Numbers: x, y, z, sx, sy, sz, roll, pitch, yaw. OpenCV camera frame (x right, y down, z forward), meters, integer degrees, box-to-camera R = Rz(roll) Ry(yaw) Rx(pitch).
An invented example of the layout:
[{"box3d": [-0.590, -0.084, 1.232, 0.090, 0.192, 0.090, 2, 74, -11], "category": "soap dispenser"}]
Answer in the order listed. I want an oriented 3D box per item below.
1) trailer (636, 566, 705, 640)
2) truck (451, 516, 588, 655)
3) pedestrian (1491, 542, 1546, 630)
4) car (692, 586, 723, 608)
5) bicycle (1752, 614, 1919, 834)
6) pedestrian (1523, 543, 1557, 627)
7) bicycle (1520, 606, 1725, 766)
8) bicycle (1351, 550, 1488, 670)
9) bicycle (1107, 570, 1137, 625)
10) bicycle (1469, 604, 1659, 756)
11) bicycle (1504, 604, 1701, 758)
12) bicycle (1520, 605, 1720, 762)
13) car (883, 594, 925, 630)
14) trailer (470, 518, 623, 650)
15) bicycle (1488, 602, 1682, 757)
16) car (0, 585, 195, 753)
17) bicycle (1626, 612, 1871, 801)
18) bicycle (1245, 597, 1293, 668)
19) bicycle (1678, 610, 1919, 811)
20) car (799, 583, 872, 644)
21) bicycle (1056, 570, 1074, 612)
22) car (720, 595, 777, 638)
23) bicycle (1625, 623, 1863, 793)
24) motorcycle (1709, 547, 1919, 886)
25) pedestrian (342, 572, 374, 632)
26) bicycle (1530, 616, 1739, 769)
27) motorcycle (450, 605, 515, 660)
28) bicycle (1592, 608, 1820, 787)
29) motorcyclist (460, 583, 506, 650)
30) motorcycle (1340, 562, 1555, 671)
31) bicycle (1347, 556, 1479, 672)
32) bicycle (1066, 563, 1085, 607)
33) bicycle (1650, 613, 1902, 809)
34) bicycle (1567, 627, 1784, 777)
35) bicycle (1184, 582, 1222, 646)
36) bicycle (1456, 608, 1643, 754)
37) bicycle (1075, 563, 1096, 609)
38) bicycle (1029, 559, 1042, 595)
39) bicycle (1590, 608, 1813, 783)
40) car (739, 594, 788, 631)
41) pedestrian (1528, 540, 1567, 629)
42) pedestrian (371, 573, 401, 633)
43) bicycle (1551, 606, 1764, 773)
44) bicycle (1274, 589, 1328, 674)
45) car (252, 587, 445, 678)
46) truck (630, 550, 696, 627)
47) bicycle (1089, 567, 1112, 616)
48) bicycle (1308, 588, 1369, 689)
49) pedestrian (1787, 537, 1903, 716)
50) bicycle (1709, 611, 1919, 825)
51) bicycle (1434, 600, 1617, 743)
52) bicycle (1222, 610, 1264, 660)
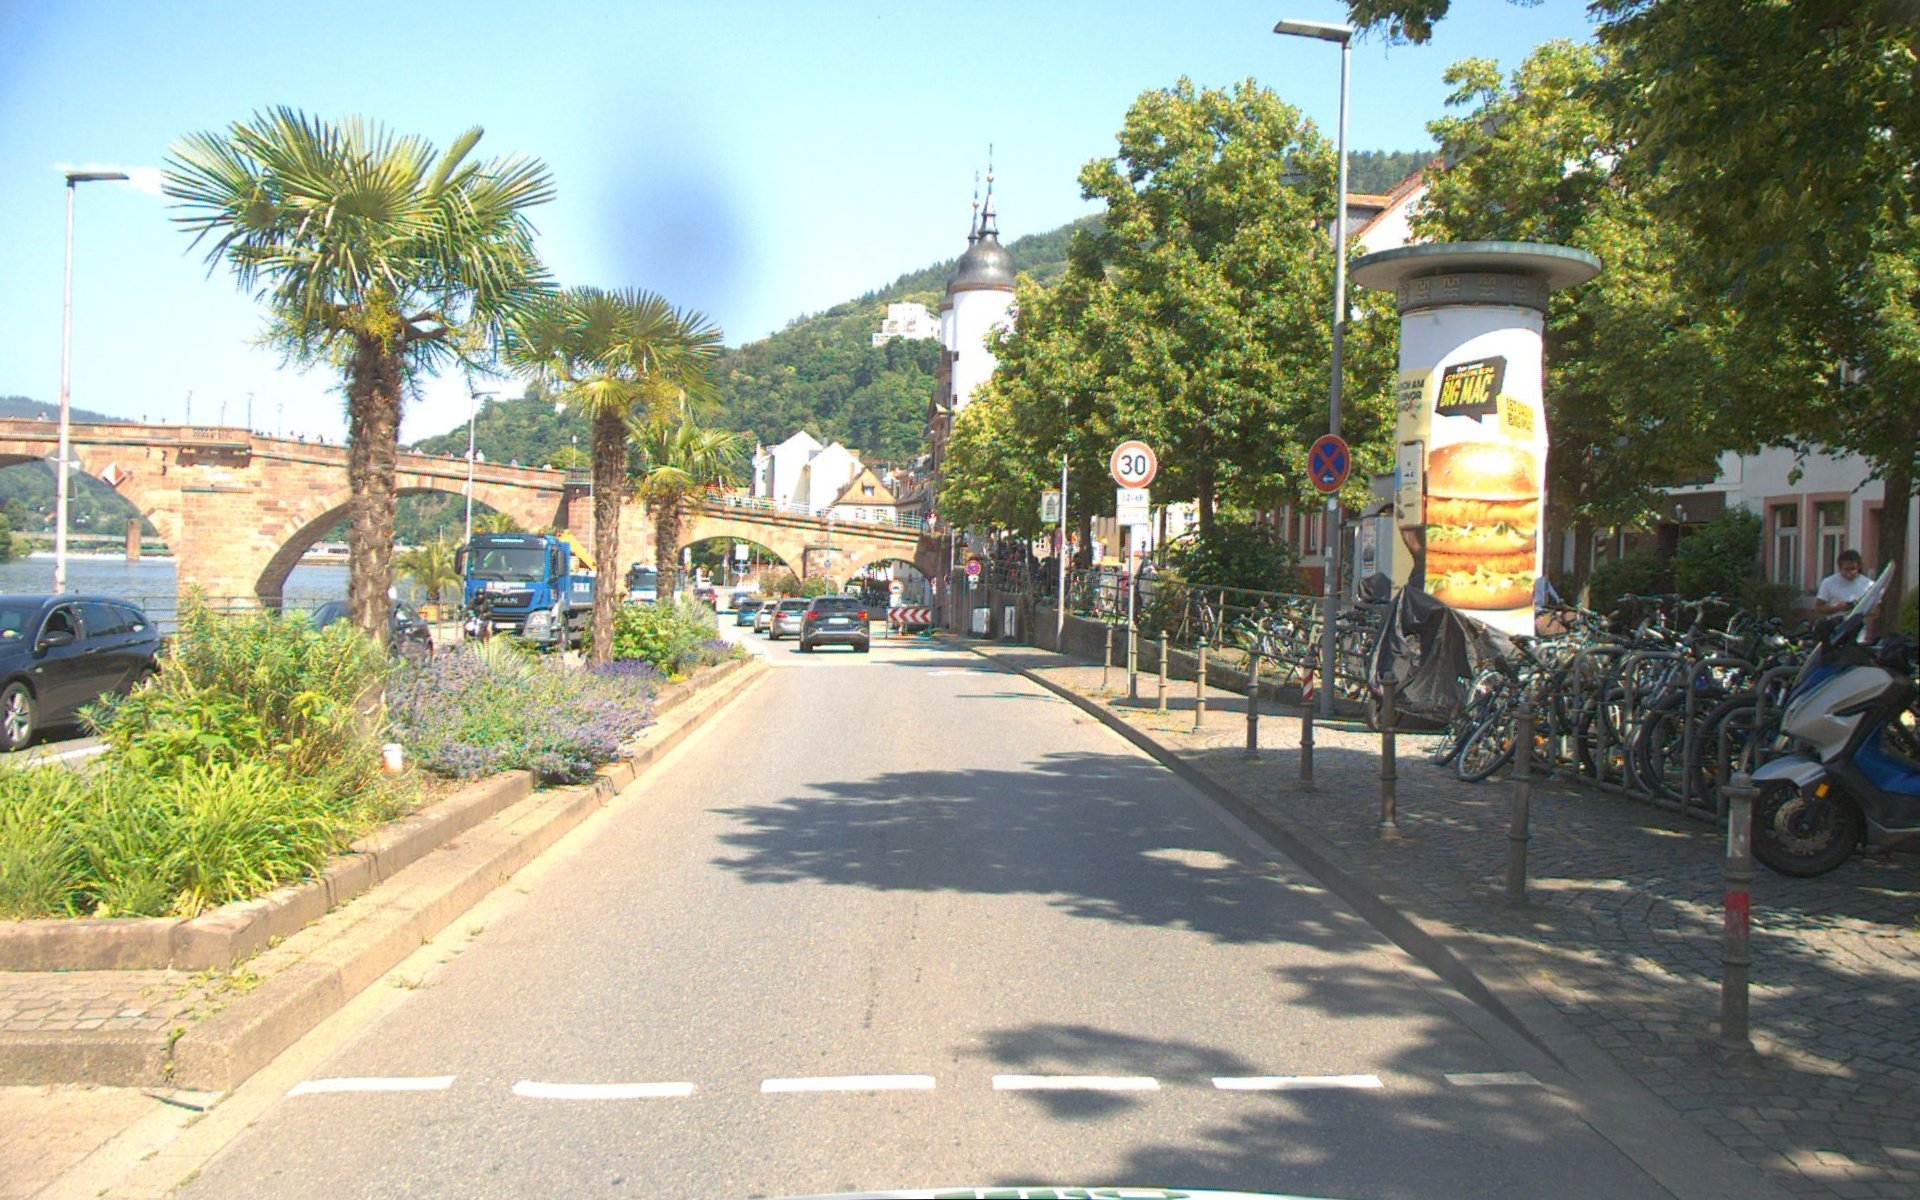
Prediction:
[{"box3d": [-14.576, 0.049, 83.871, 2.606, 3.462, 10.157, 1, 1, -5], "category": "trailer"}, {"box3d": [-11.743, -0.405, 44.417, 2.605, 3.462, 4.447, 1, 1, -3], "category": "truck"}, {"box3d": [12.650, -0.325, 37.483, 0.949, 1.948, 0.747, 1, 0, -2], "category": "pedestrian"}, {"box3d": [-20.490, -0.262, 134.452, 1.954, 1.580, 4.830, 1, 1, -3], "category": "car"}, {"box3d": [4.988, 0.646, 8.793, 1.455, 1.139, 0.294, 0, 1, -5], "category": "bicycle"}, {"box3d": [14.263, -0.368, 40.668, 0.574, 2.049, 0.596, 1, 0, -4], "category": "pedestrian"}, {"box3d": [4.832, 0.615, 12.066, 1.456, 1.139, 0.250, 0, 1, -9], "category": "bicycle"}, {"box3d": [5.921, 0.127, 21.313, 1.688, 1.509, 0.269, 1, 0, -5], "category": "bicycle"}, {"box3d": [3.406, -0.067, 34.867, 0.339, 1.115, 1.488, 3, 0, -3], "category": "bicycle"}, {"box3d": [4.759, 0.621, 13.038, 1.456, 1.139, 0.250, -1, 1, -9], "category": "bicycle"}, {"box3d": [4.874, 0.604, 12.546, 1.456, 1.139, 0.250, 0, 1, -9], "category": "bicycle"}, {"box3d": [4.922, 0.611, 12.331, 1.456, 1.139, 0.250, 0, 1, -9], "category": "bicycle"}, {"box3d": [-2.652, 0.556, 79.555, 1.684, 1.624, 3.896, 1, 1, 2], "category": "car"}, {"box3d": [-11.958, -0.506, 48.649, 2.605, 3.462, 8.822, 1, 1, -3], "category": "trailer"}, {"box3d": [4.822, 0.605, 12.764, 1.456, 1.139, 0.250, -1, 1, -9], "category": "bicycle"}, {"box3d": [-9.648, 0.619, 16.693, 1.782, 1.481, 4.926, -1, 1, -3], "category": "car"}, {"box3d": [4.887, 0.646, 10.257, 1.456, 1.139, 0.293, 0, 1, -9], "category": "bicycle"}, {"box3d": [4.233, 0.435, 22.693, 0.245, 0.920, 1.487, 1, 1, -5], "category": "bicycle"}, {"box3d": [4.954, 0.632, 9.672, 1.456, 1.139, 0.293, 0, 1, -9], "category": "bicycle"}, {"box3d": [-3.415, 0.376, 45.440, 1.888, 1.580, 4.827, 1, -1, -4], "category": "car"}, {"box3d": [2.843, -0.249, 44.838, 0.245, 1.115, 1.488, 3, 0, -3], "category": "bicycle"}, {"box3d": [-8.773, 0.660, 69.033, 1.954, 1.580, 4.830, 1, 1, -3], "category": "car"}, {"box3d": [5.004, 0.676, 10.558, 1.456, 1.050, 0.293, 0, 1, -9], "category": "bicycle"}, {"box3d": [4.658, 0.516, 7.425, 2.254, 1.491, 0.761, 0, 0, 38], "category": "motorcycle"}, {"box3d": [-18.454, 0.065, 50.712, 0.748, 1.811, 0.694, 2, 1, -11], "category": "pedestrian"}, {"box3d": [4.816, 0.650, 11.818, 1.456, 1.065, 0.250, 0, 1, -9], "category": "bicycle"}, {"box3d": [-10.842, 0.727, 37.643, 0.742, 1.151, 2.456, 1, 1, 0], "category": "motorcycle"}, {"box3d": [4.866, 0.622, 10.790, 1.456, 1.139, 0.250, 0, 1, -9], "category": "bicycle"}, {"box3d": [-10.827, 0.364, 37.570, 0.721, 1.496, 1.011, 1, 1, 0], "category": "motorcyclist"}, {"box3d": [6.697, 0.211, 22.816, 2.773, 1.422, 0.826, 1, 0, 16], "category": "motorcycle"}, {"box3d": [5.991, 0.184, 21.893, 1.673, 1.509, 0.269, 1, 0, -5], "category": "bicycle"}, {"box3d": [2.987, -0.397, 42.753, 0.245, 1.115, 1.488, 3, 0, -3], "category": "bicycle"}, {"box3d": [4.916, 0.654, 9.968, 1.456, 1.139, 0.293, 0, 1, -9], "category": "bicycle"}, {"box3d": [4.902, 0.687, 11.334, 1.456, 0.996, 0.250, 0, 1, -9], "category": "bicycle"}, {"box3d": [3.995, 0.217, 27.282, 0.245, 1.017, 1.487, 3, 0, -5], "category": "bicycle"}, {"box3d": [4.754, 0.652, 13.337, 1.456, 1.139, 0.250, 1, 0, -9], "category": "bicycle"}, {"box3d": [3.095, -0.353, 40.830, 0.245, 1.115, 1.488, 3, 0, -3], "category": "bicycle"}, {"box3d": [2.437, -0.732, 53.442, 0.348, 1.115, 1.489, 3, 0, 2], "category": "bicycle"}, {"box3d": [4.960, 0.628, 11.067, 1.456, 1.139, 0.250, 0, 1, -9], "category": "bicycle"}, {"box3d": [-9.323, 0.575, 78.634, 1.954, 1.580, 4.830, 1, 1, -3], "category": "car"}, {"box3d": [13.764, -0.366, 38.734, 0.622, 2.049, 0.644, 1, 0, -2], "category": "pedestrian"}, {"box3d": [-17.630, 0.084, 50.819, 0.748, 1.811, 0.694, 2, 1, -11], "category": "pedestrian"}, {"box3d": [4.882, 0.614, 11.579, 1.456, 1.139, 0.250, 0, 1, -9], "category": "bicycle"}, {"box3d": [4.337, 0.381, 21.108, 0.245, 1.028, 1.487, 1, 1, -5], "category": "bicycle"}, {"box3d": [-10.521, 0.546, 28.810, 1.913, 1.437, 4.217, -1, 0, -2], "category": "car"}, {"box3d": [-14.070, -0.566, 78.653, 2.606, 3.462, 5.129, 1, 1, -6], "category": "truck"}, {"box3d": [3.255, -0.206, 38.432, 0.270, 1.115, 1.488, -3, 1, -3], "category": "bicycle"}, {"box3d": [4.469, 0.436, 19.574, 0.245, 1.139, 1.487, 1, 1, -5], "category": "bicycle"}, {"box3d": [8.535, 0.244, 15.978, 0.693, 1.681, 0.707, 1, 1, -2], "category": "pedestrian"}, {"box3d": [4.939, 0.636, 9.173, 1.456, 1.139, 0.377, 0, 1, -9], "category": "bicycle"}, {"box3d": [4.668, 0.590, 13.650, 1.456, 1.152, 0.250, 1, 0, -9], "category": "bicycle"}, {"box3d": [4.143, 0.505, 24.245, 0.245, 0.675, 1.468, 1, 1, -5], "category": "bicycle"}]
